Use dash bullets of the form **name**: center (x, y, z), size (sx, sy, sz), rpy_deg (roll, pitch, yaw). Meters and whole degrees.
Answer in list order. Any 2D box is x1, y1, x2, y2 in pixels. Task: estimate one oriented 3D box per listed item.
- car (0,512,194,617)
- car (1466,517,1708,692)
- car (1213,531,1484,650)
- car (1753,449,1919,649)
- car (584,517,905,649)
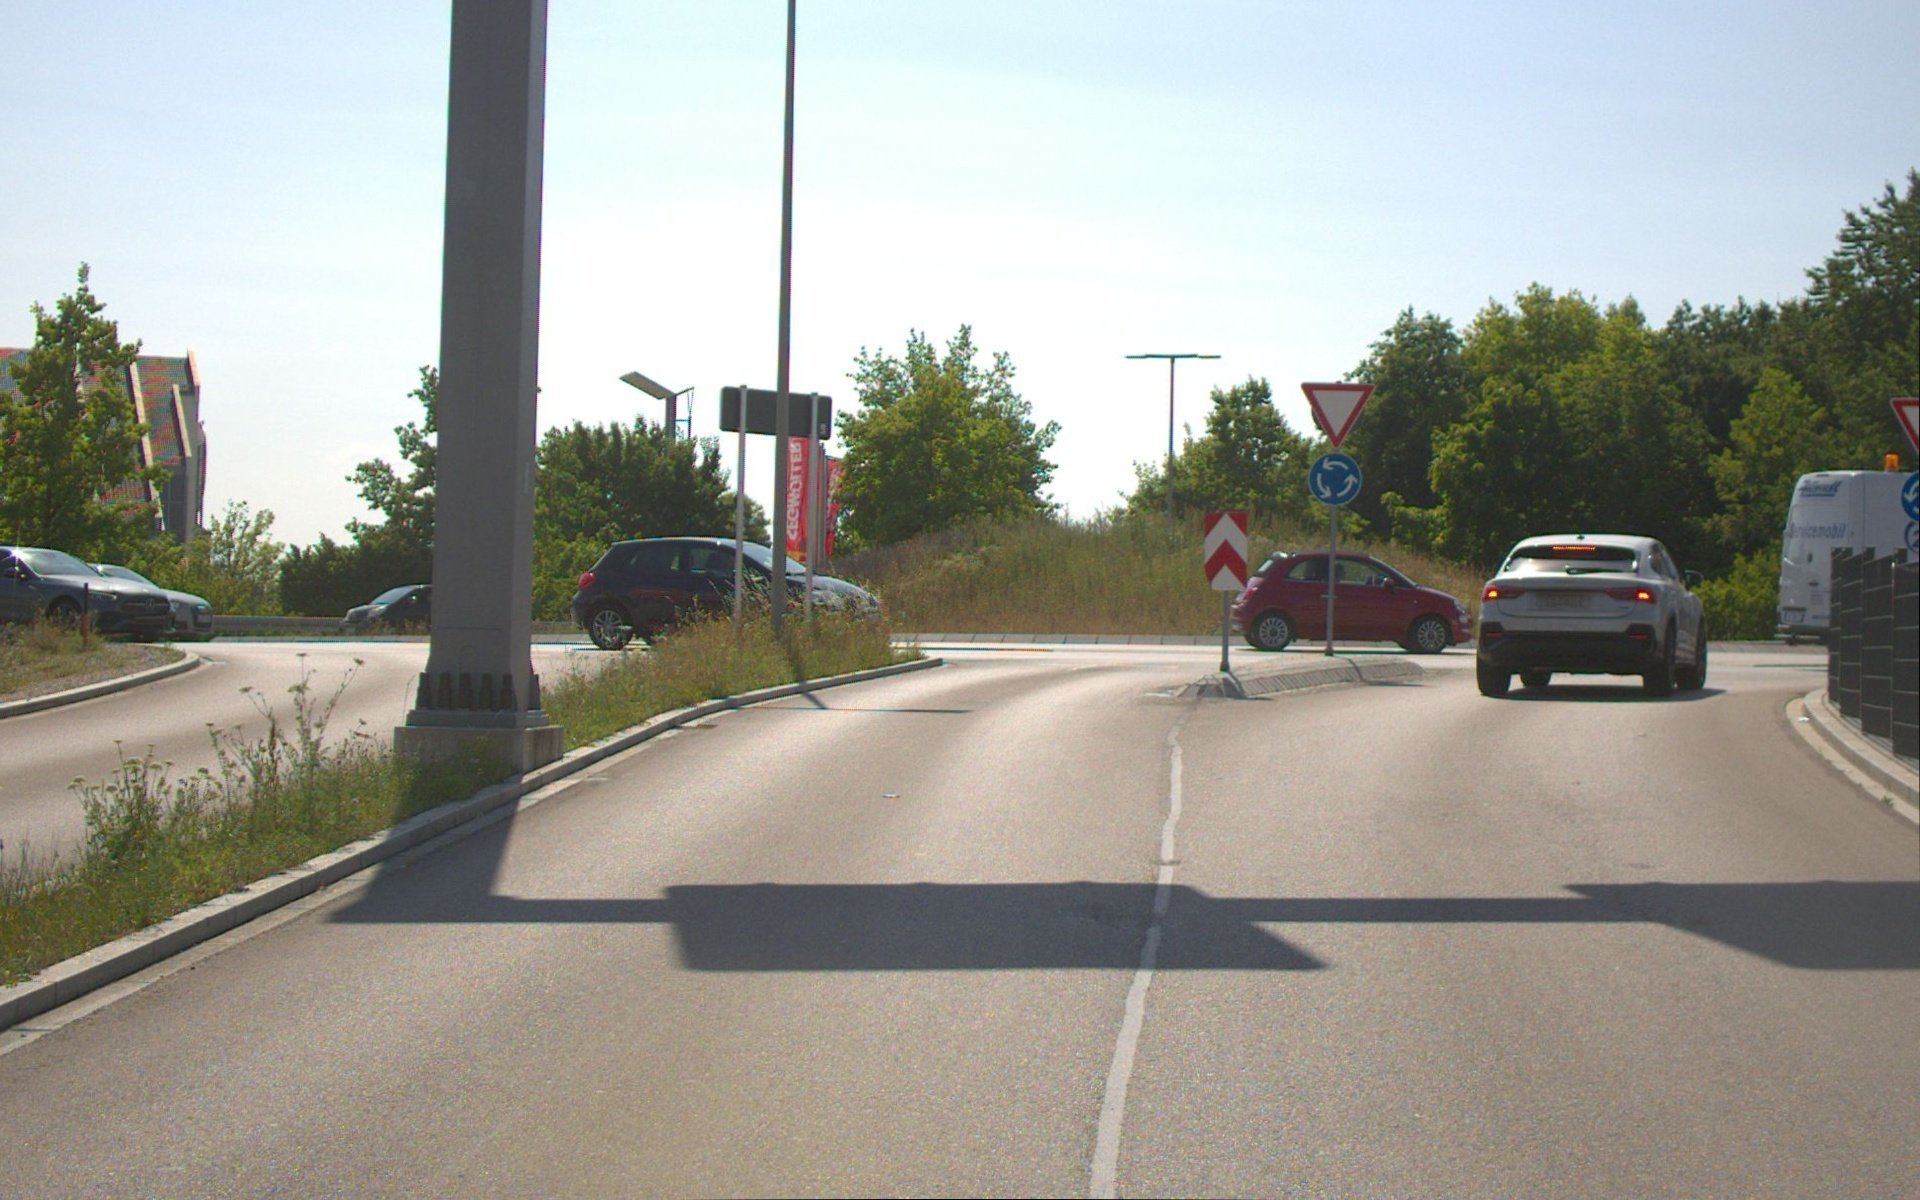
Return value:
- **car**: center (-13.974, -0.560, 51.142), size (4.865, 1.447, 1.997), rpy_deg (2, 0, 28)
- **car**: center (6.273, 0.034, 34.040), size (1.843, 1.590, 4.321), rpy_deg (1, 0, 17)
- **car**: center (5.754, -0.149, 51.173), size (3.722, 1.612, 1.873), rpy_deg (2, 0, -2)
- **car**: center (13.995, -0.599, 46.242), size (6.171, 2.545, 2.091), rpy_deg (2, 0, -16)
- **car**: center (-2.875, -0.230, 46.259), size (3.950, 1.612, 1.818), rpy_deg (2, 0, 10)
